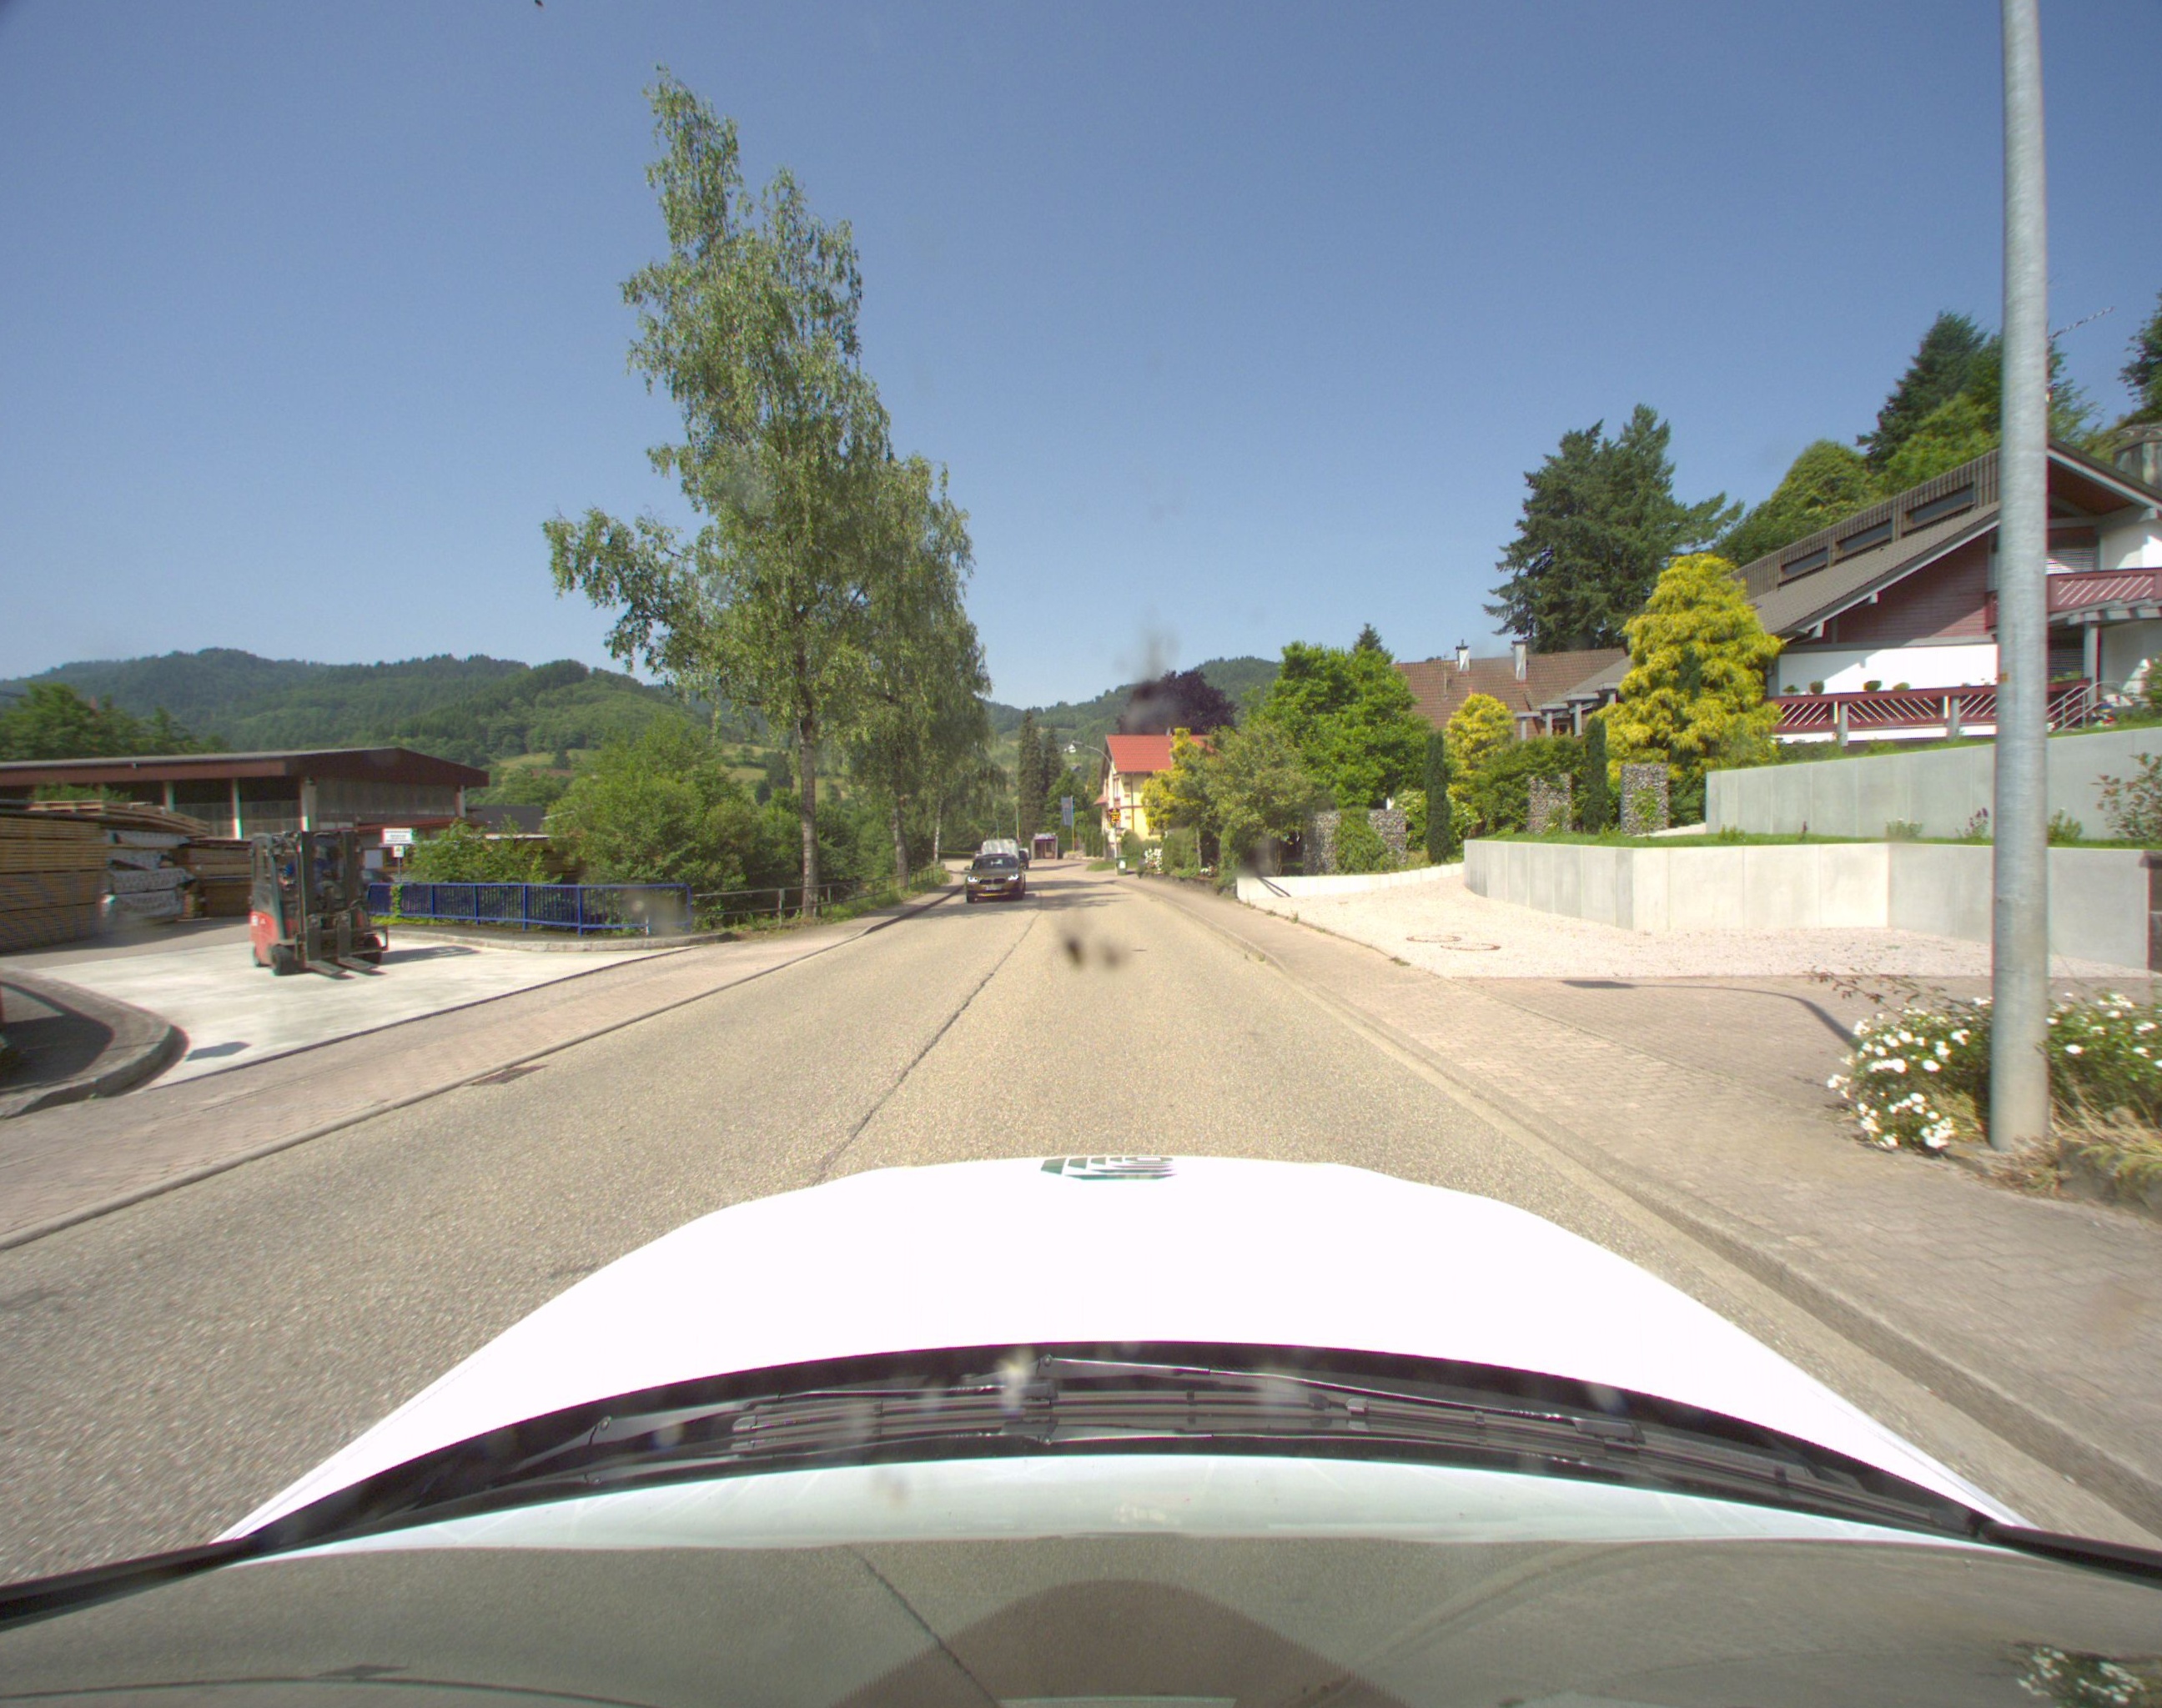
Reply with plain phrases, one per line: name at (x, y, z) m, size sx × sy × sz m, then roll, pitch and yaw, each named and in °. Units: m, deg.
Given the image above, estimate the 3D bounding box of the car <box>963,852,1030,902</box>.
car at (-2.777, 0.711, 27.565) m, size 1.808 × 1.500 × 4.147 m, roll -3°, pitch 0°, yaw -1°

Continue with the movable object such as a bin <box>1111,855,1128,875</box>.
movable object such as a bin at (2.142, 0.603, 45.256) m, size 0.808 × 1.042 × 0.577 m, roll -2°, pitch 1°, yaw -7°

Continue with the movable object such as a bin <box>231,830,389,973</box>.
movable object such as a bin at (-12.062, 0.705, 12.739) m, size 2.099 × 2.072 × 1.143 m, roll -2°, pitch 0°, yaw 29°

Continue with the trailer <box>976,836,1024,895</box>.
trailer at (-3.104, 0.419, 31.676) m, size 1.462 × 2.077 × 3.669 m, roll -3°, pitch 0°, yaw -1°

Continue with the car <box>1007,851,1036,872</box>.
car at (-5.168, 0.618, 70.546) m, size 1.922 × 1.698 × 3.771 m, roll -2°, pitch 0°, yaw -13°

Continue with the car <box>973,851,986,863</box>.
car at (-12.676, 0.348, 101.732) m, size 1.627 × 1.422 × 3.391 m, roll -1°, pitch 0°, yaw -6°
